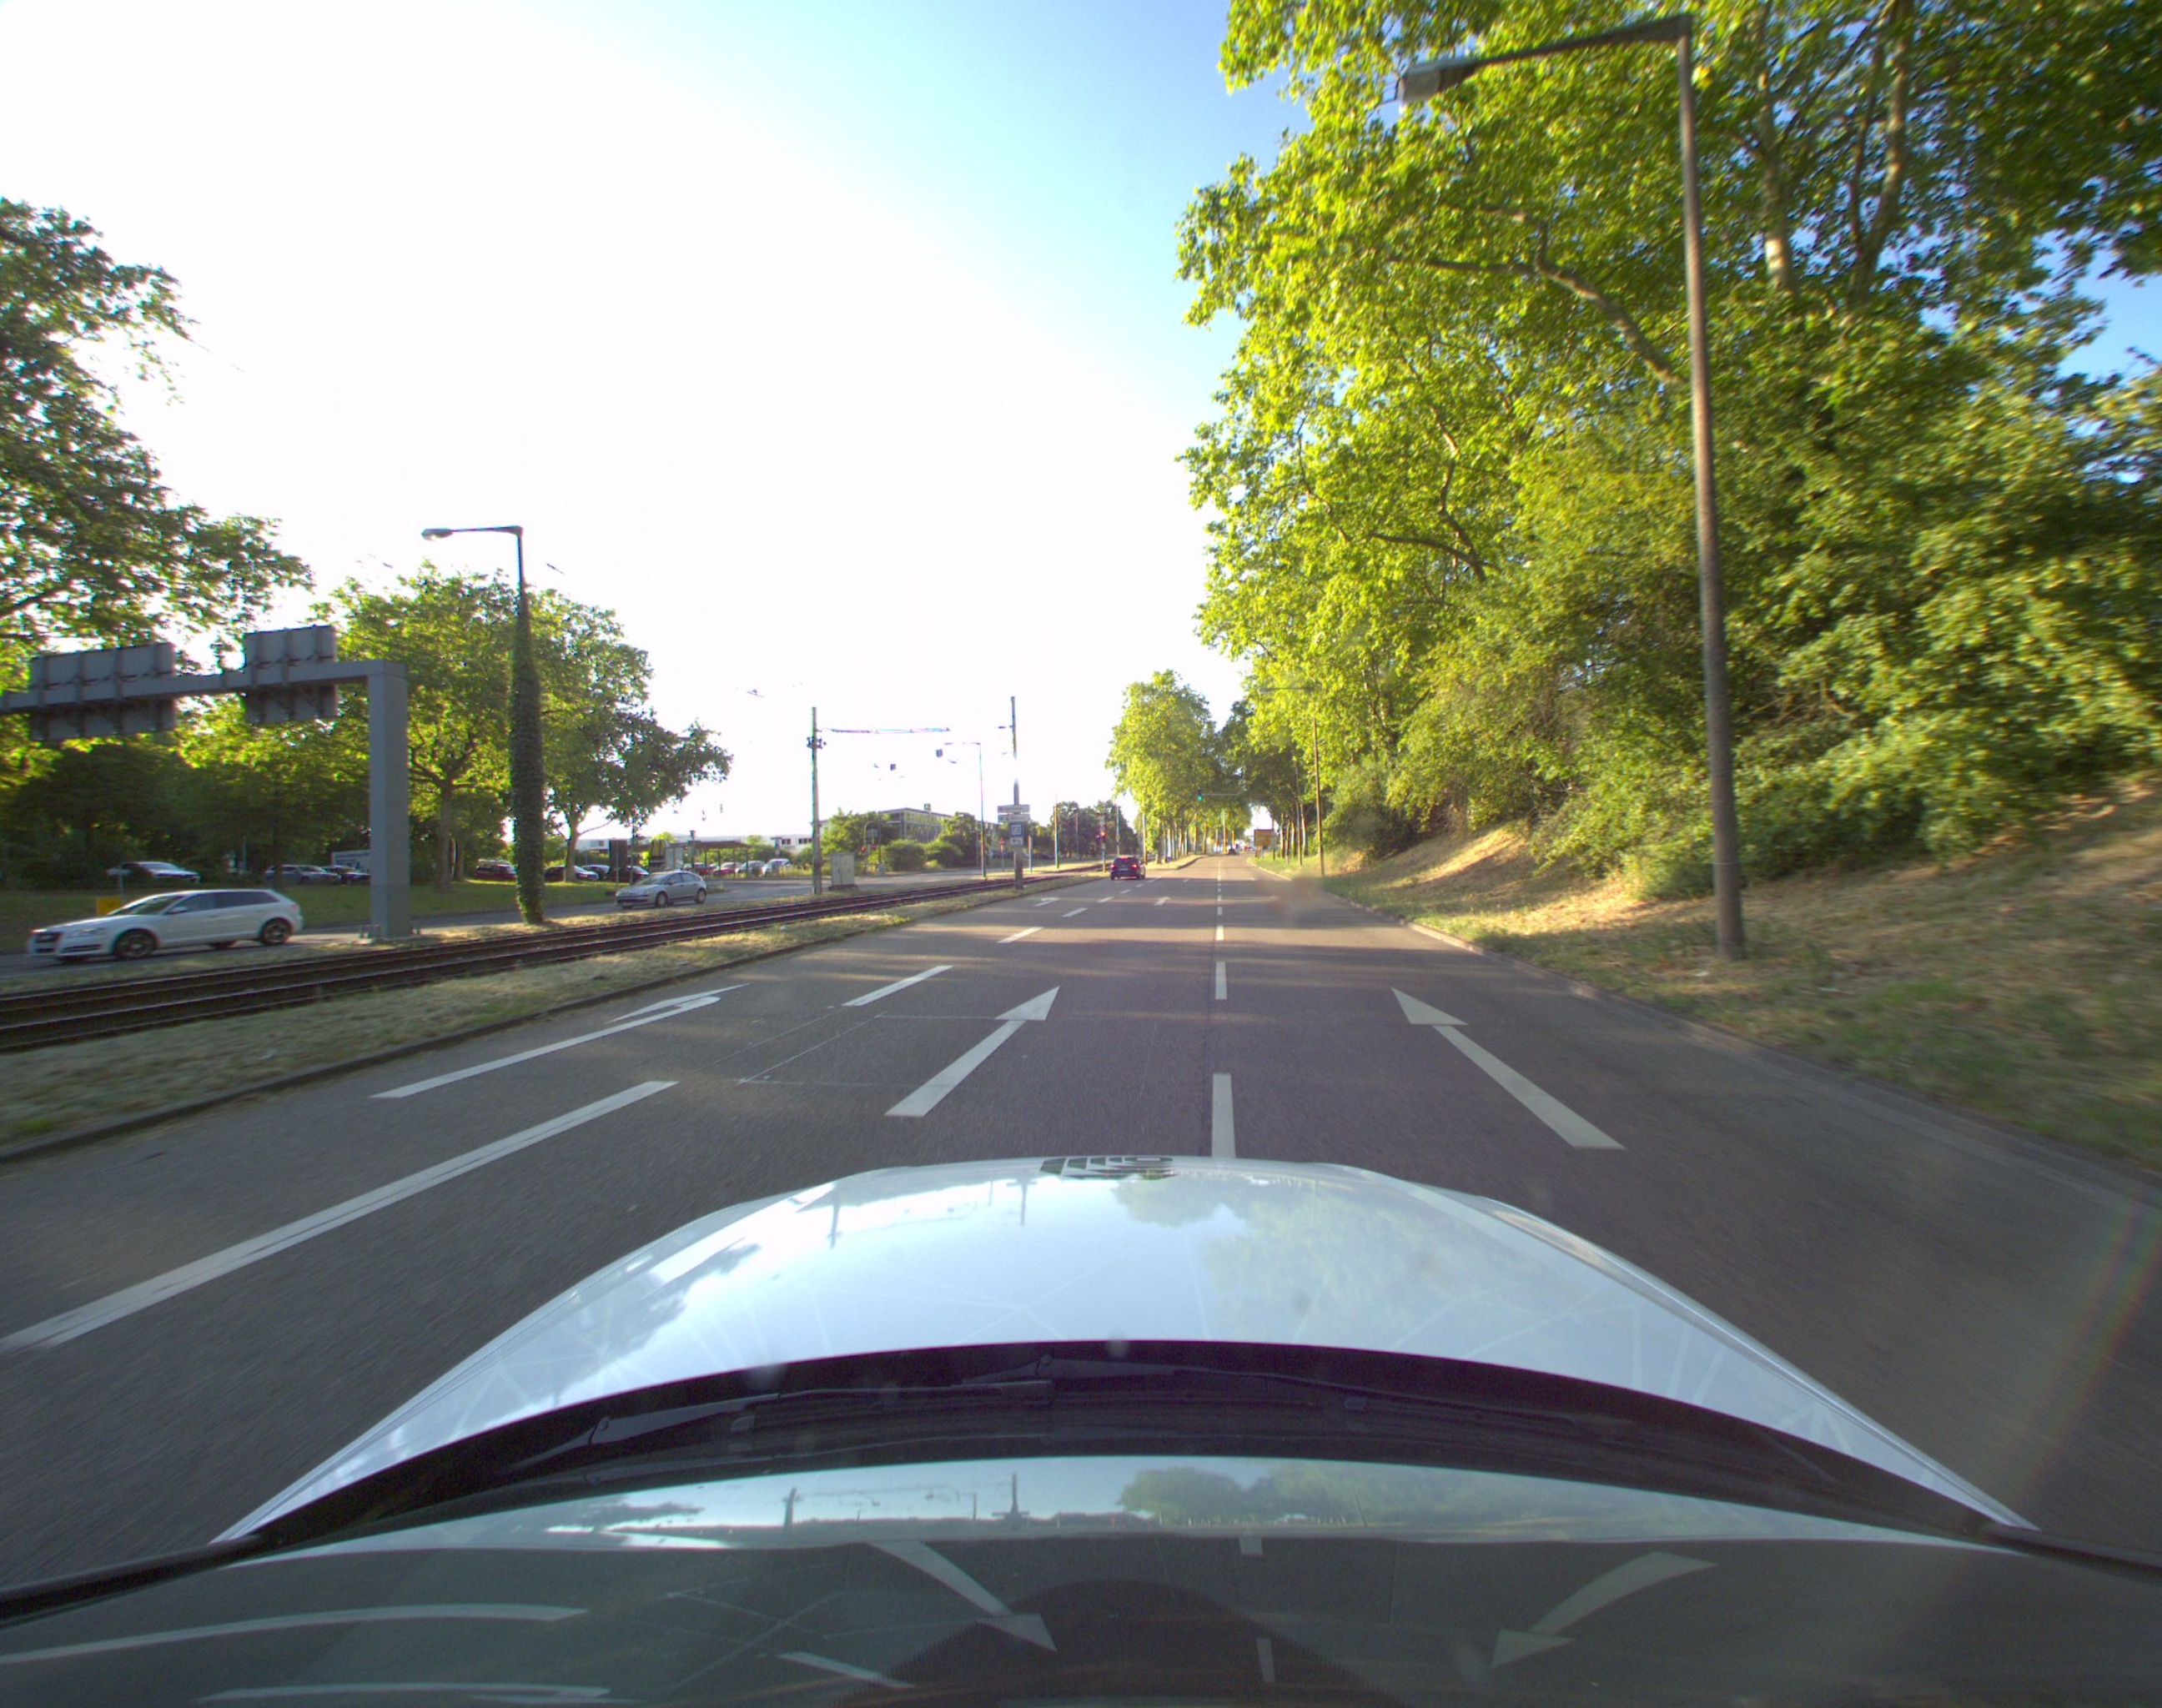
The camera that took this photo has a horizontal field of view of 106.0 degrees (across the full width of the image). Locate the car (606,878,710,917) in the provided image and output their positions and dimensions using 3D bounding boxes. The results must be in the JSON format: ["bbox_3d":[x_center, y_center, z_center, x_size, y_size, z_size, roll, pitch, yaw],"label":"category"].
[{"bbox_3d":[-17.798,1.810,34.515,1.643,1.416,4.270,-1,0,10],"label":"car"}]

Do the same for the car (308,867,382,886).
[{"bbox_3d":[-51.385,1.585,56.870,3.964,1.260,1.677,-1,0,8],"label":"car"}]

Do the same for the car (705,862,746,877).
[{"bbox_3d":[-37.041,1.616,84.966,1.829,1.442,4.014,-1,0,12],"label":"car"}]

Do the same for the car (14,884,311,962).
[{"bbox_3d":[-20.636,1.482,18.615,1.644,1.416,4.269,-1,0,8],"label":"car"}]

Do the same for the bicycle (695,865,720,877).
[{"bbox_3d":[-35.791,1.599,78.072,0.660,1.065,2.205,-1,0,27],"label":"bicycle"}]

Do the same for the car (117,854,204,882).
[{"bbox_3d":[-52.824,0.817,46.769,3.955,1.530,1.870,-1,0,18],"label":"car"}]

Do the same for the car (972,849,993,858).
[{"bbox_3d":[-15.686,0.000,129.952,3.126,1.391,1.458,-1,0,6],"label":"car"}]

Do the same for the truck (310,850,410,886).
[{"bbox_3d":[-70.113,1.327,79.185,8.237,3.388,2.742,-1,-1,10],"label":"truck"}]

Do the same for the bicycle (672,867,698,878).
[{"bbox_3d":[-38.474,1.769,79.070,0.659,1.065,2.206,-1,-1,40],"label":"bicycle"}]

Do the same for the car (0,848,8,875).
[{"bbox_3d":[-54.340,0.389,39.373,3.488,1.332,1.529,-1,0,10],"label":"car"}]

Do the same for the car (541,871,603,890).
[{"bbox_3d":[-41.031,2.128,65.671,4.029,1.387,1.789,-1,0,11],"label":"car"}]

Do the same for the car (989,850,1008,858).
[{"bbox_3d":[-15.020,-0.043,148.462,3.126,1.391,1.458,-1,0,6],"label":"car"}]

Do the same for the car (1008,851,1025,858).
[{"bbox_3d":[-13.170,0.096,166.140,3.126,1.490,1.458,-1,0,6],"label":"car"}]

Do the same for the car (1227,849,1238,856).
[{"bbox_3d":[31.903,-0.311,171.210,1.777,1.403,3.707,-1,-1,20],"label":"car"}]

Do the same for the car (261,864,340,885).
[{"bbox_3d":[-51.727,1.352,53.980,3.964,1.372,1.677,-1,0,8],"label":"car"}]

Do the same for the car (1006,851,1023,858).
[{"bbox_3d":[-13.282,0.112,163.152,3.126,1.490,1.458,-1,0,6],"label":"car"}]

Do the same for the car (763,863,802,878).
[{"bbox_3d":[-30.776,1.714,84.122,1.829,1.442,4.014,-1,0,12],"label":"car"}]

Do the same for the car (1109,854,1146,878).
[{"bbox_3d":[2.866,0.704,49.791,1.781,1.403,3.700,-1,0,11],"label":"car"}]

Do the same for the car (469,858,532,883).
[{"bbox_3d":[-47.299,1.347,66.371,3.960,1.860,2.007,-2,-1,12],"label":"car"}]

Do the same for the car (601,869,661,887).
[{"bbox_3d":[-35.657,1.896,64.538,4.024,1.387,1.791,-1,0,16],"label":"car"}]

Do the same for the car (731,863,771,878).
[{"bbox_3d":[-34.087,1.666,84.164,1.829,1.442,4.014,-1,0,12],"label":"car"}]
